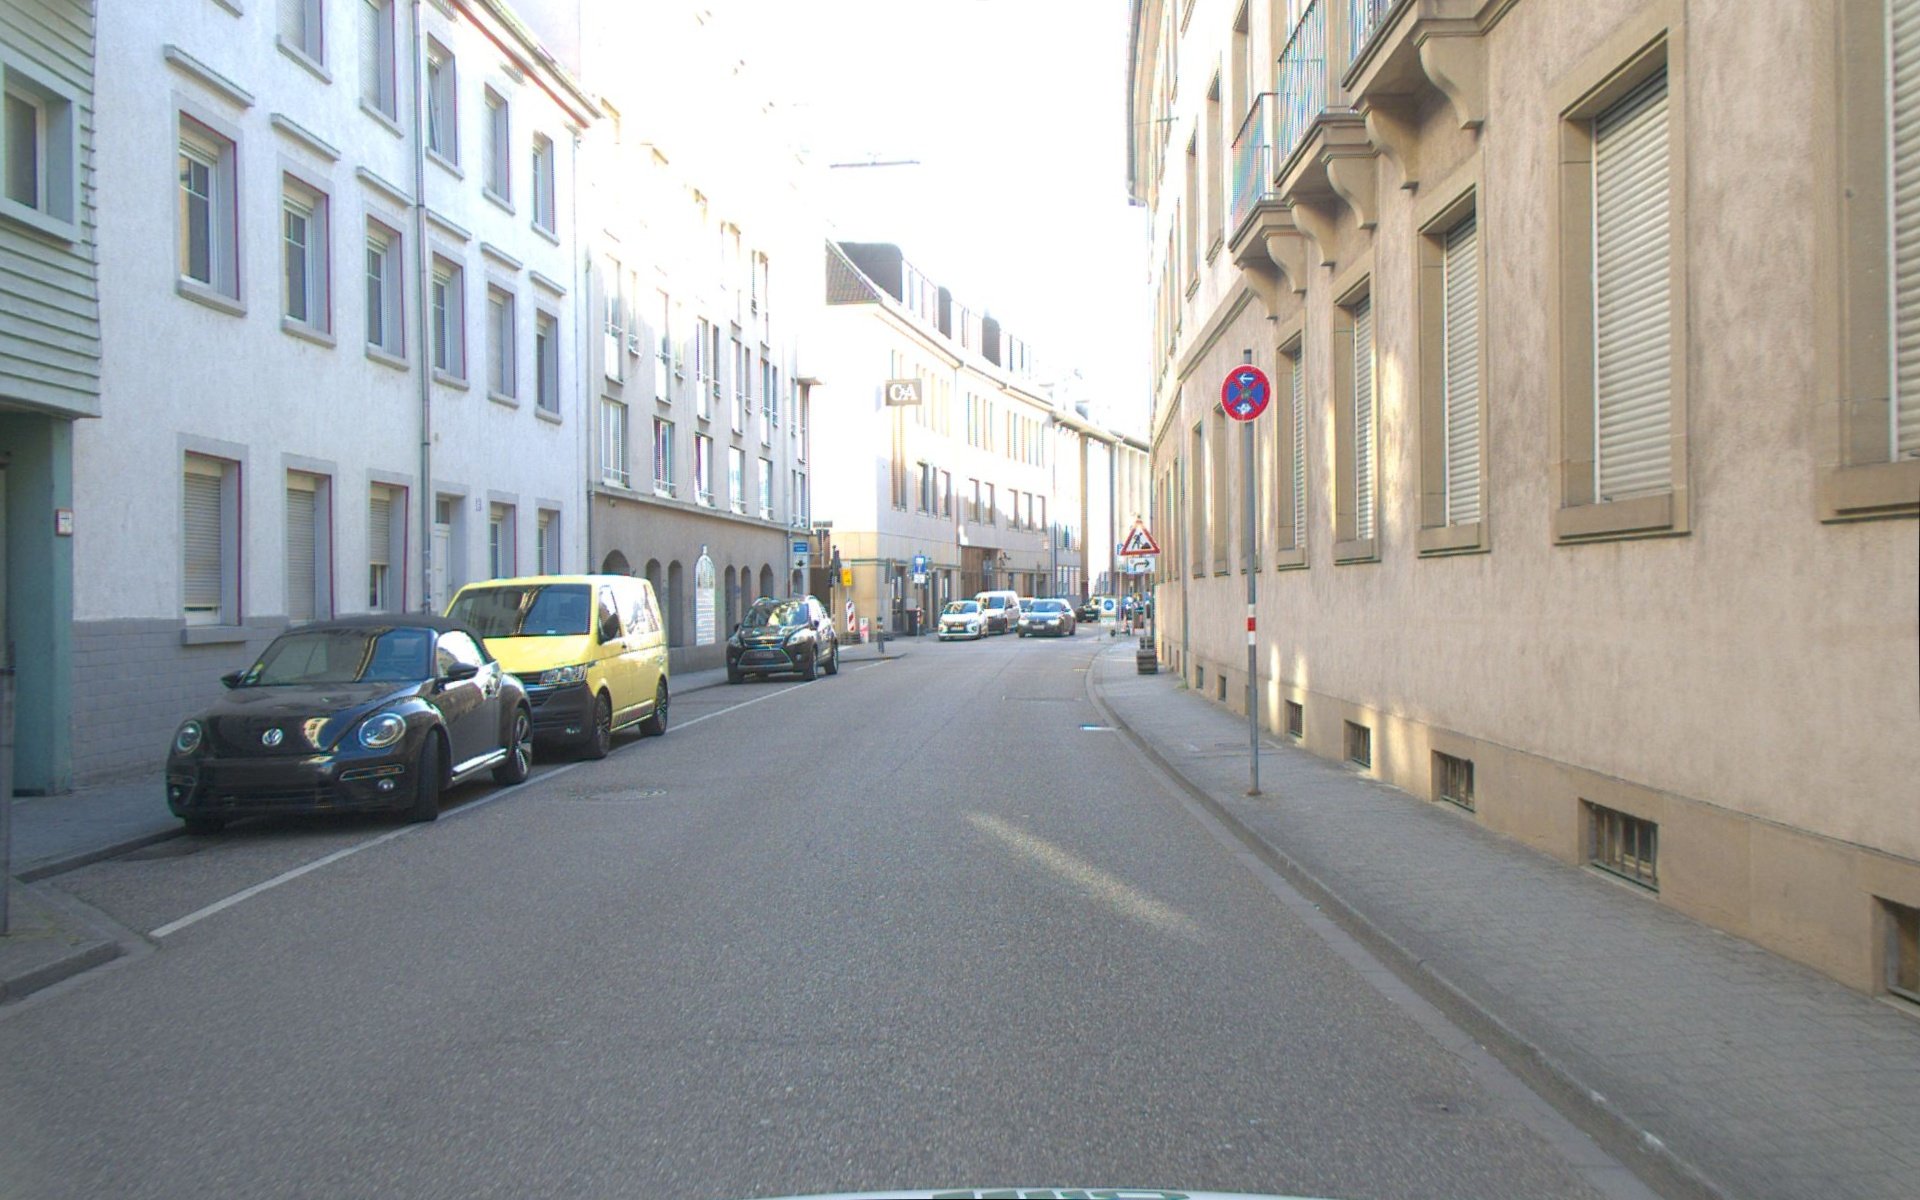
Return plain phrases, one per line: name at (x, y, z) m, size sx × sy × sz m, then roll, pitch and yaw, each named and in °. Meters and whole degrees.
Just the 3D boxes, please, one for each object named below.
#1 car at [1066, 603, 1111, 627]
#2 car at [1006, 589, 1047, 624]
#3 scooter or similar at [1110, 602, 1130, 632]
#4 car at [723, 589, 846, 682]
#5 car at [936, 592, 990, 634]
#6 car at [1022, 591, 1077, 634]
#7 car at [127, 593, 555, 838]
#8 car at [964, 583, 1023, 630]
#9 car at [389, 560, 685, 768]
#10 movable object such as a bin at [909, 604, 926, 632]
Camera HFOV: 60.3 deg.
car at (7.592, 0.873, 97.455) m, size 1.841 × 1.355 × 4.103 m, roll -1°, pitch 0°, yaw 16°
car at (3.113, 0.276, 77.182) m, size 1.244 × 1.533 × 3.405 m, roll -2°, pitch 0°, yaw 13°
scooter or similar at (6.386, 0.680, 66.007) m, size 0.754 × 1.156 × 0.269 m, roll 2°, pitch 0°, yaw 9°
car at (-3.637, 0.689, 34.910) m, size 1.703 × 1.740 × 4.193 m, roll -3°, pitch 0°, yaw 5°
car at (0.155, 0.500, 65.384) m, size 1.635 × 1.533 × 3.797 m, roll -2°, pitch 0°, yaw 7°
car at (3.497, 0.478, 65.086) m, size 1.681 × 1.605 × 4.187 m, roll -1°, pitch 0°, yaw -4°
car at (-4.596, 0.755, 12.982) m, size 1.782 × 1.512 × 4.076 m, roll -3°, pitch 0°, yaw -1°
car at (1.480, 0.252, 71.139) m, size 1.635 × 1.850 × 4.556 m, roll -2°, pitch 0°, yaw 12°
car at (-4.498, 0.607, 18.436) m, size 1.841 × 1.899 × 4.865 m, roll -3°, pitch 0°, yaw 1°
movable object such as a bin at (-1.712, 0.723, 66.760) m, size 0.596 × 1.079 × 0.713 m, roll 2°, pitch 0°, yaw 4°
